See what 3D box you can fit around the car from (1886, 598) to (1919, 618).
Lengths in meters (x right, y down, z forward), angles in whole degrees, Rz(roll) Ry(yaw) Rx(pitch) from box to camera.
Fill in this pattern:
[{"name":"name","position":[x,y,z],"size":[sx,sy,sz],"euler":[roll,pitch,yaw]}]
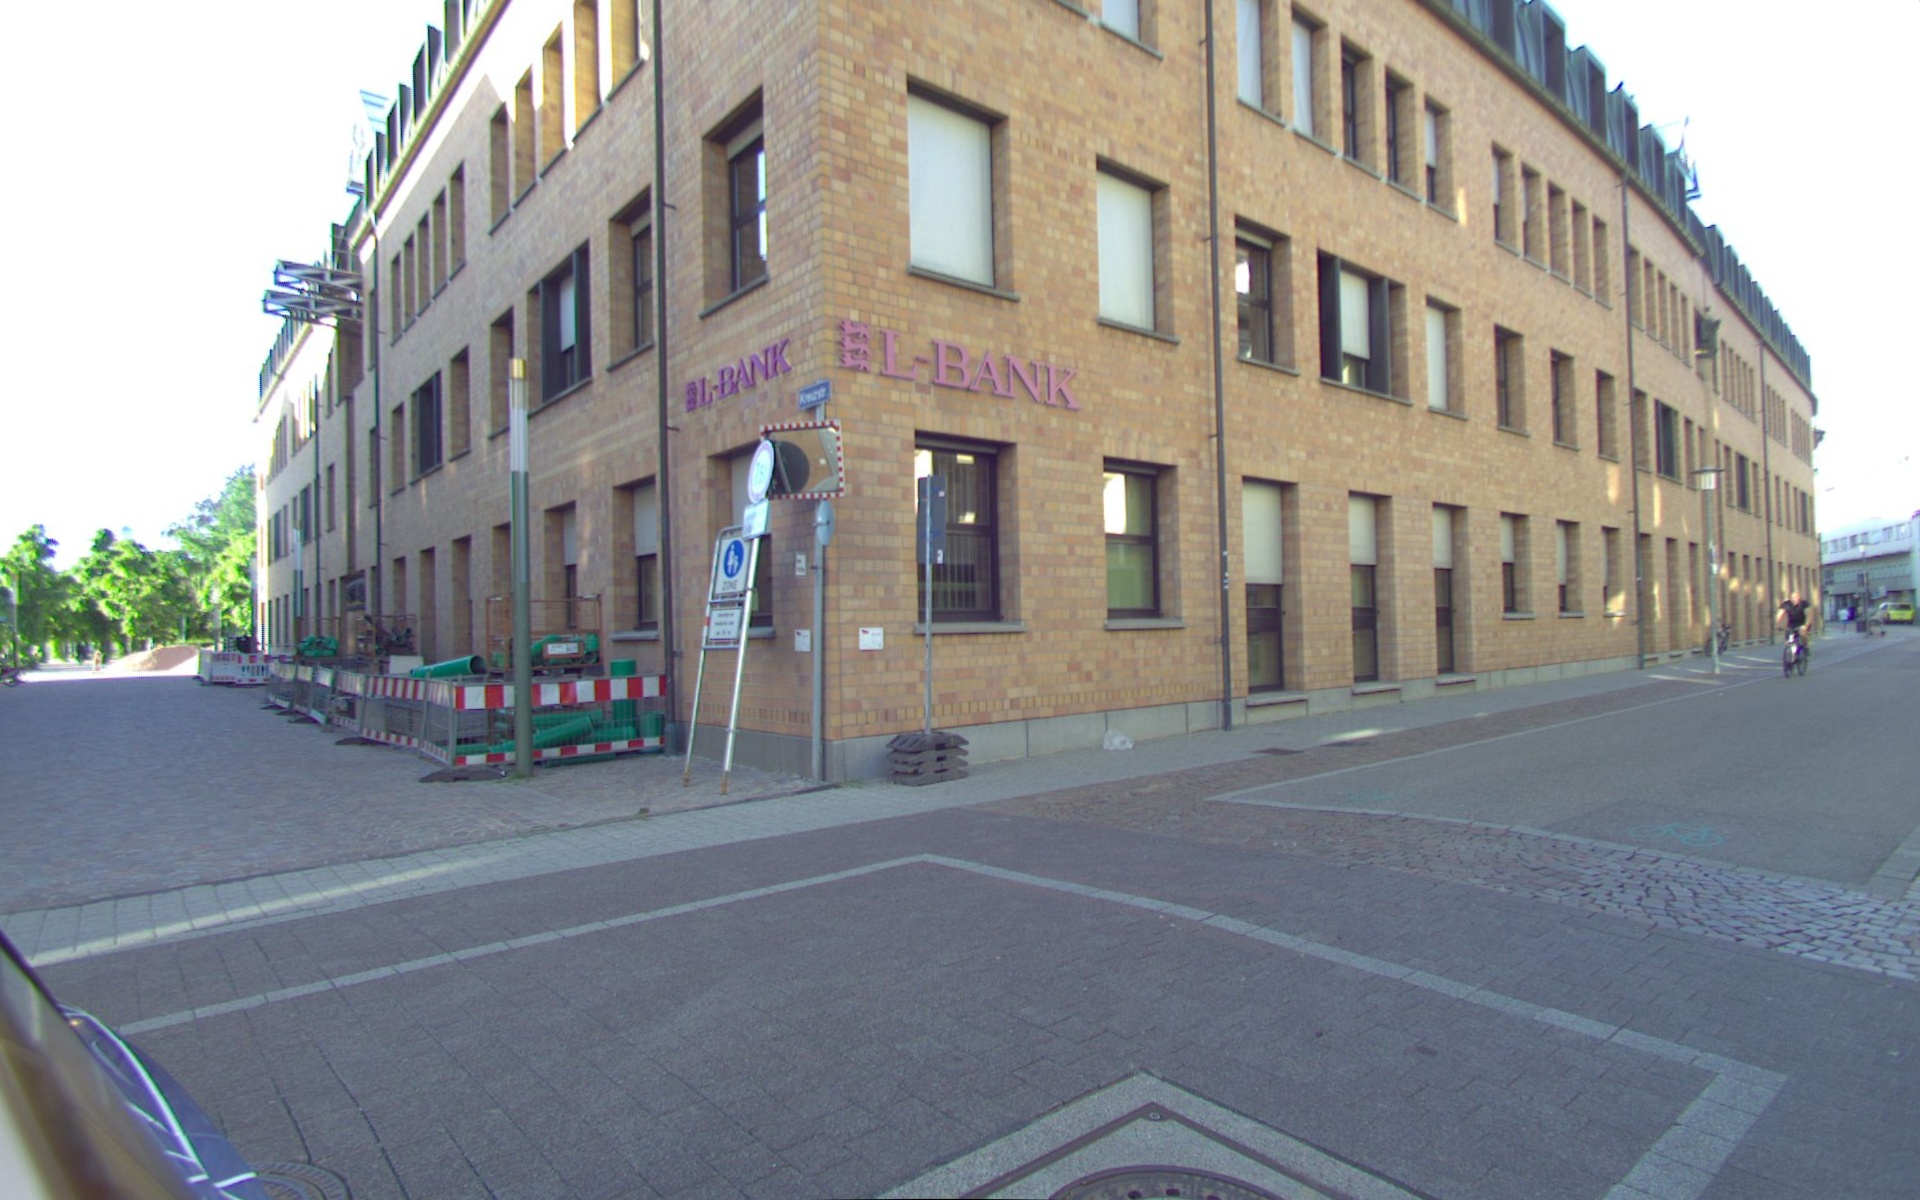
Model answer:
[{"name":"car","position":[81.018,0.704,86.699],"size":[1.931,1.663,3.791],"euler":[-1,-1,35]}]

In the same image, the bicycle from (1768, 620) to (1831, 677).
[{"name":"bicycle","position":[17.502,0.999,21.087],"size":[1.800,1.112,0.706],"euler":[0,-6,-44]}]

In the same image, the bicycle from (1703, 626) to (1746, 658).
[{"name":"bicycle","position":[23.118,1.252,30.587],"size":[2.518,0.888,0.643],"euler":[0,-1,-44]}]

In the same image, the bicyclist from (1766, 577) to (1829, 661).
[{"name":"bicyclist","position":[17.502,0.403,21.152],"size":[0.943,1.668,0.773],"euler":[1,-5,-44]}]

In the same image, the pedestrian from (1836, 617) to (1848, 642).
[{"name":"pedestrian","position":[56.384,1.885,64.687],"size":[0.399,1.556,0.544],"euler":[0,-1,-42]}]
